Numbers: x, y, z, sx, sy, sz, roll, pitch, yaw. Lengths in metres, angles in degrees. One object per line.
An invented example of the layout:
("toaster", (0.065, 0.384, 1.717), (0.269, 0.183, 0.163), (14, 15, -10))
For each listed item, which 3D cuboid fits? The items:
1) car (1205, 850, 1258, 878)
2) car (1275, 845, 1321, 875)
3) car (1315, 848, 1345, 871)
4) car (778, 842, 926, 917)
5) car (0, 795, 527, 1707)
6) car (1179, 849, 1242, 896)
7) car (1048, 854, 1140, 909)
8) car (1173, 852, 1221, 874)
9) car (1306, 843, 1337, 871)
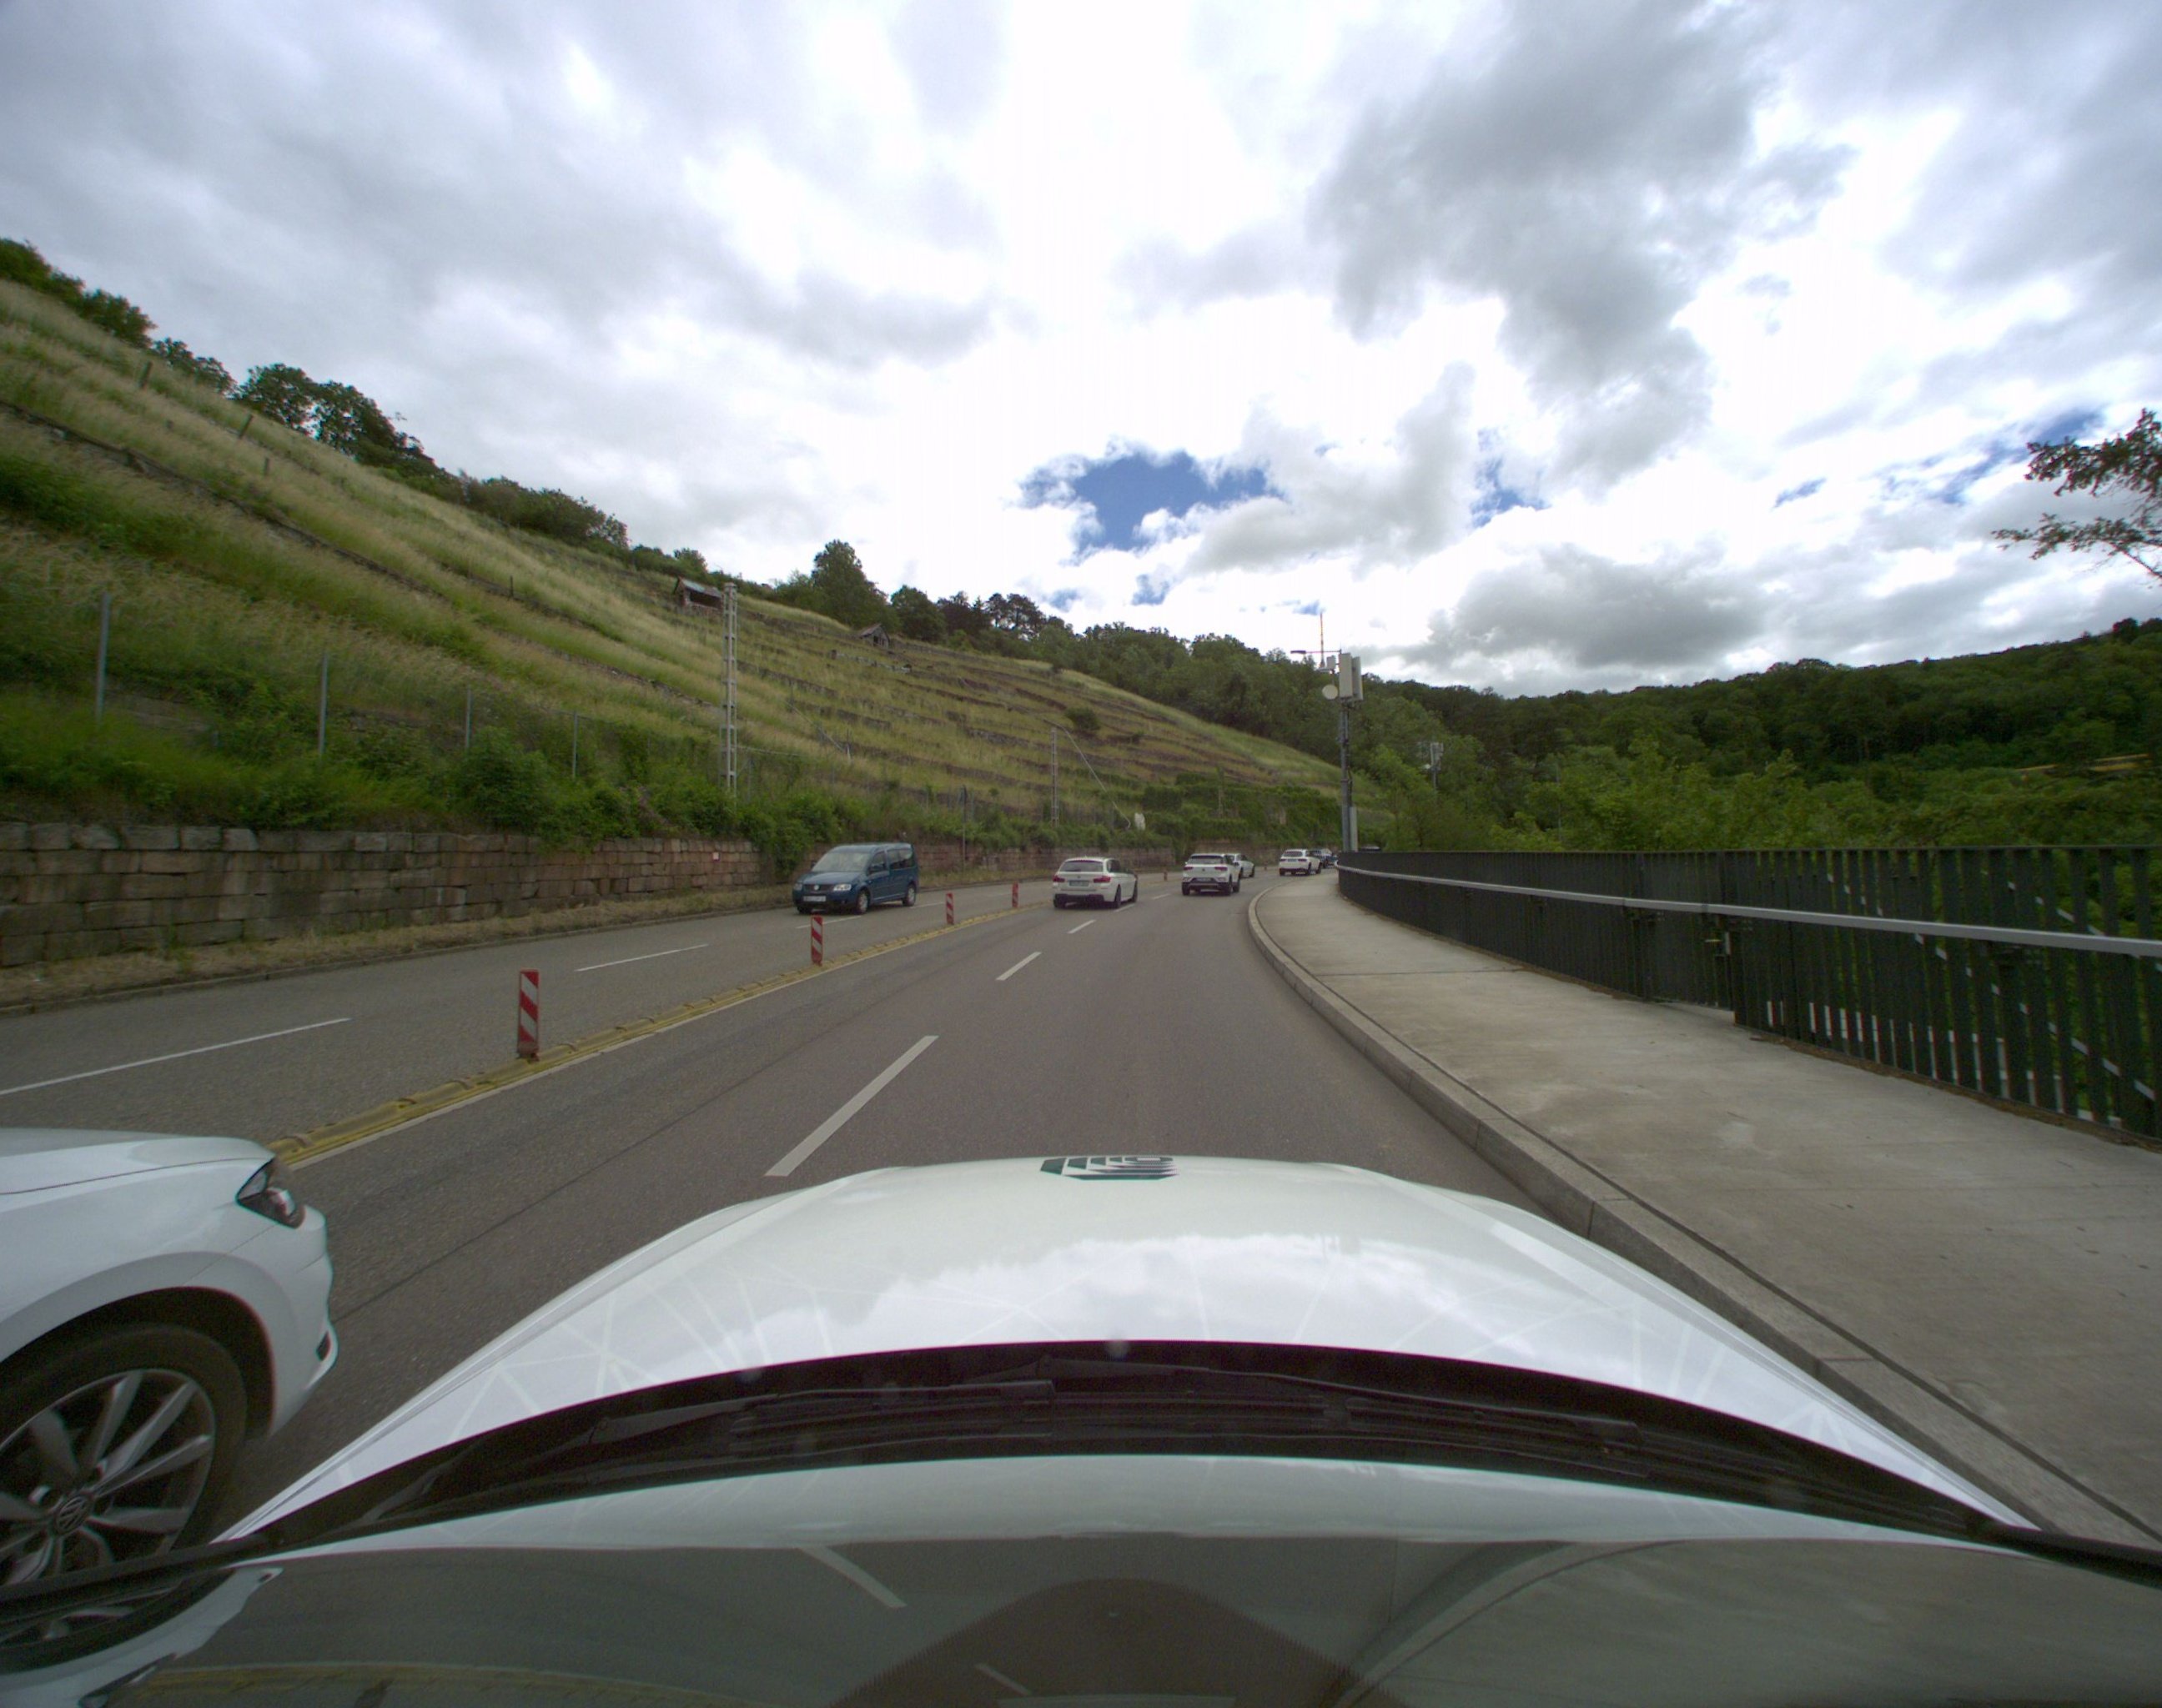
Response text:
("car", (8.733, 0.587, 46.954), (1.975, 1.503, 4.693), (-1, -2, 24))
("car", (13.634, 0.396, 51.025), (1.975, 1.718, 4.138), (-2, -2, 27))
("car", (22.033, 0.536, 71.931), (1.852, 1.762, 4.022), (-3, -4, 25))
("car", (-6.018, 0.583, 22.096), (1.838, 1.782, 4.750), (1, 1, 12))
("car", (-2.751, 0.734, 0.363), (1.814, 1.580, 4.359), (-2, 0, 3))
("car", (4.986, 0.636, 30.943), (1.814, 1.605, 4.018), (1, 1, 16))
("car", (0.501, 0.751, 24.281), (1.815, 1.459, 4.501), (0, 0, 13))
("car", (8.337, 0.595, 58.300), (1.833, 1.413, 4.443), (1, 2, 30))
("car", (19.226, 0.249, 65.003), (1.976, 2.014, 4.020), (-4, -2, 20))
